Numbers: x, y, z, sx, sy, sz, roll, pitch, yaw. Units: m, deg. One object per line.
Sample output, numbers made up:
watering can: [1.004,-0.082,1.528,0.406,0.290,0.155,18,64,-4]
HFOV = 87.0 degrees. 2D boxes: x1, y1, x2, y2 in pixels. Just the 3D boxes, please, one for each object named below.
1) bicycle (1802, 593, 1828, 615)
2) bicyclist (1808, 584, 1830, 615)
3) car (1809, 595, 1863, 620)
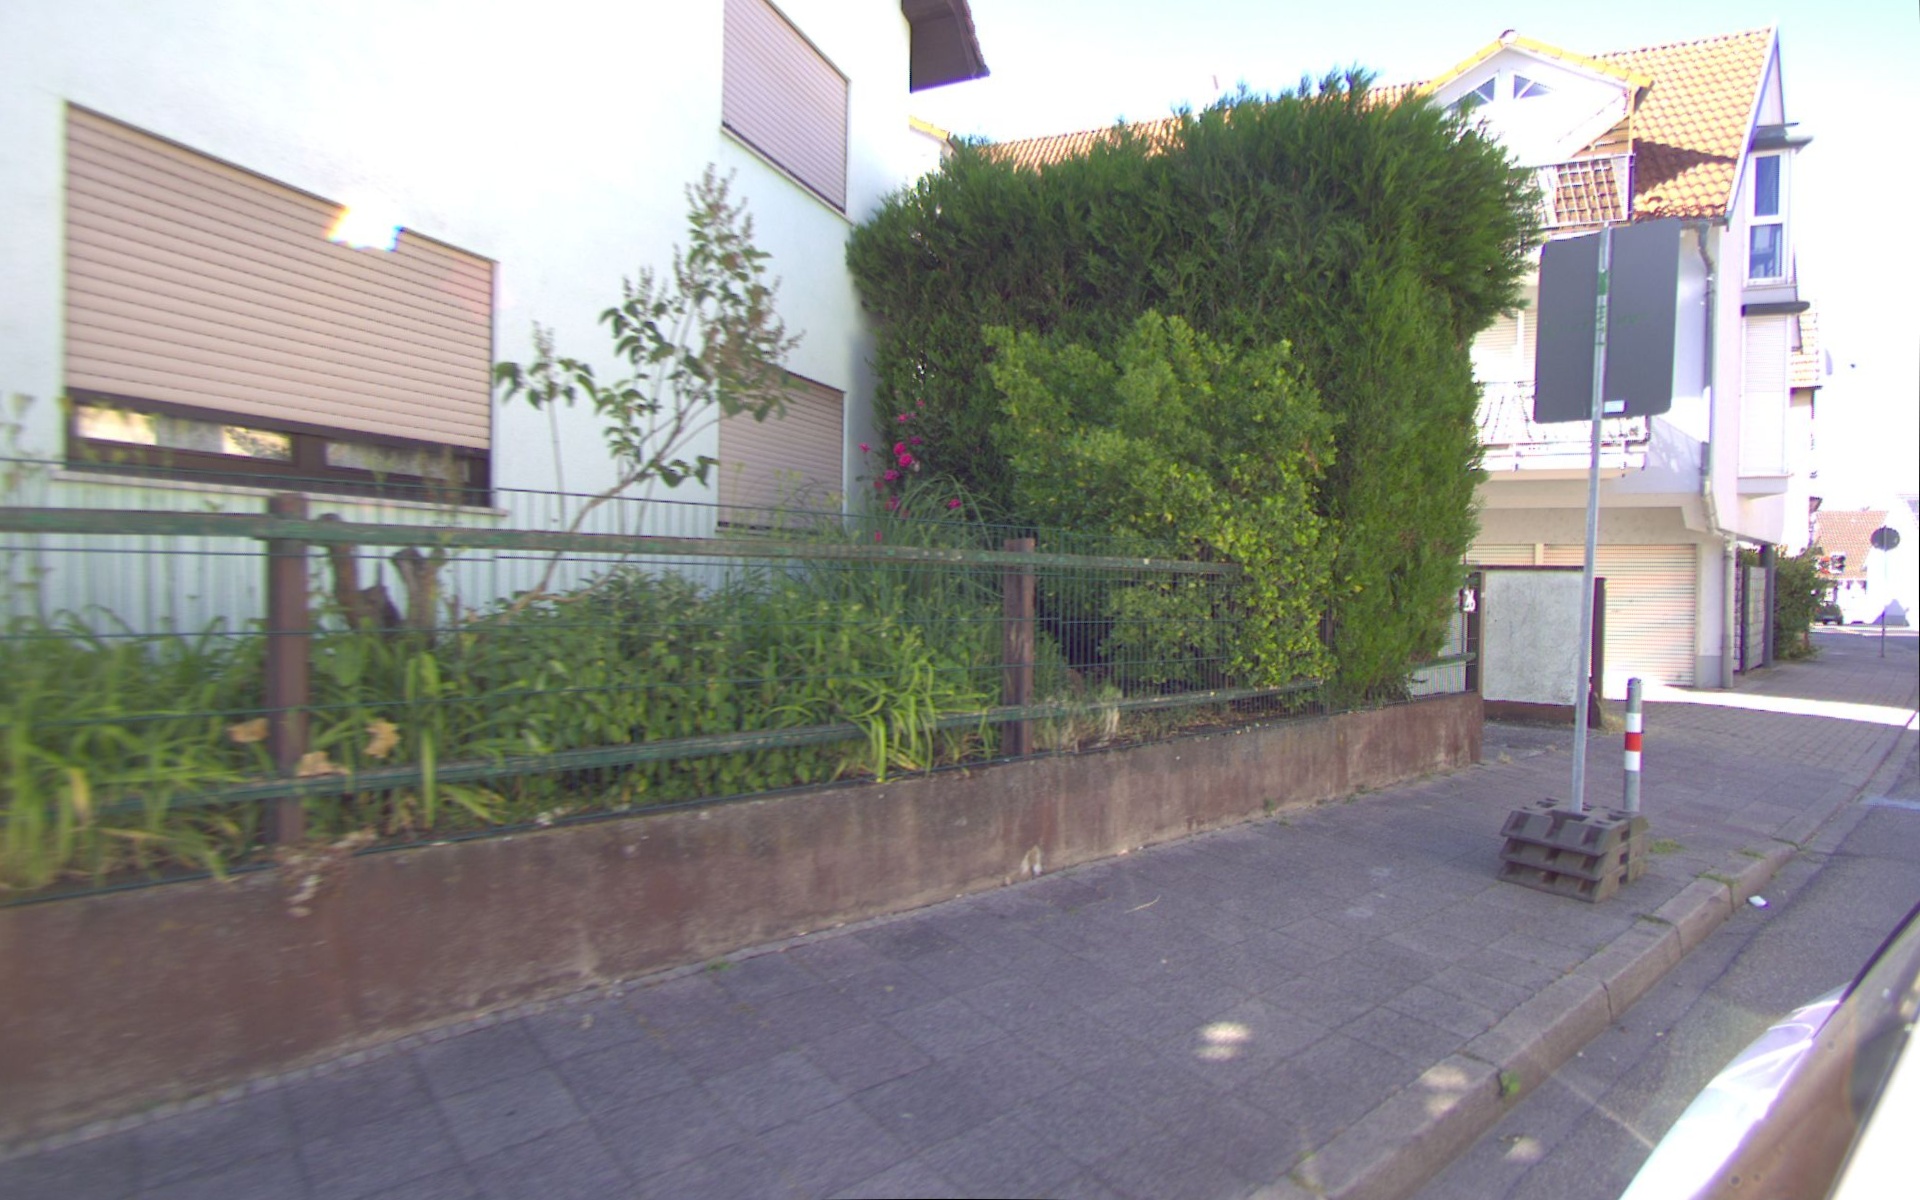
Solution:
bicycle: [48.234,0.207,57.115,0.634,1.197,2.002,2,2,28]
bicyclist: [48.187,-0.040,56.775,0.638,1.684,0.599,8,3,28]
car: [54.438,0.429,62.947,1.531,1.477,3.684,1,1,25]
